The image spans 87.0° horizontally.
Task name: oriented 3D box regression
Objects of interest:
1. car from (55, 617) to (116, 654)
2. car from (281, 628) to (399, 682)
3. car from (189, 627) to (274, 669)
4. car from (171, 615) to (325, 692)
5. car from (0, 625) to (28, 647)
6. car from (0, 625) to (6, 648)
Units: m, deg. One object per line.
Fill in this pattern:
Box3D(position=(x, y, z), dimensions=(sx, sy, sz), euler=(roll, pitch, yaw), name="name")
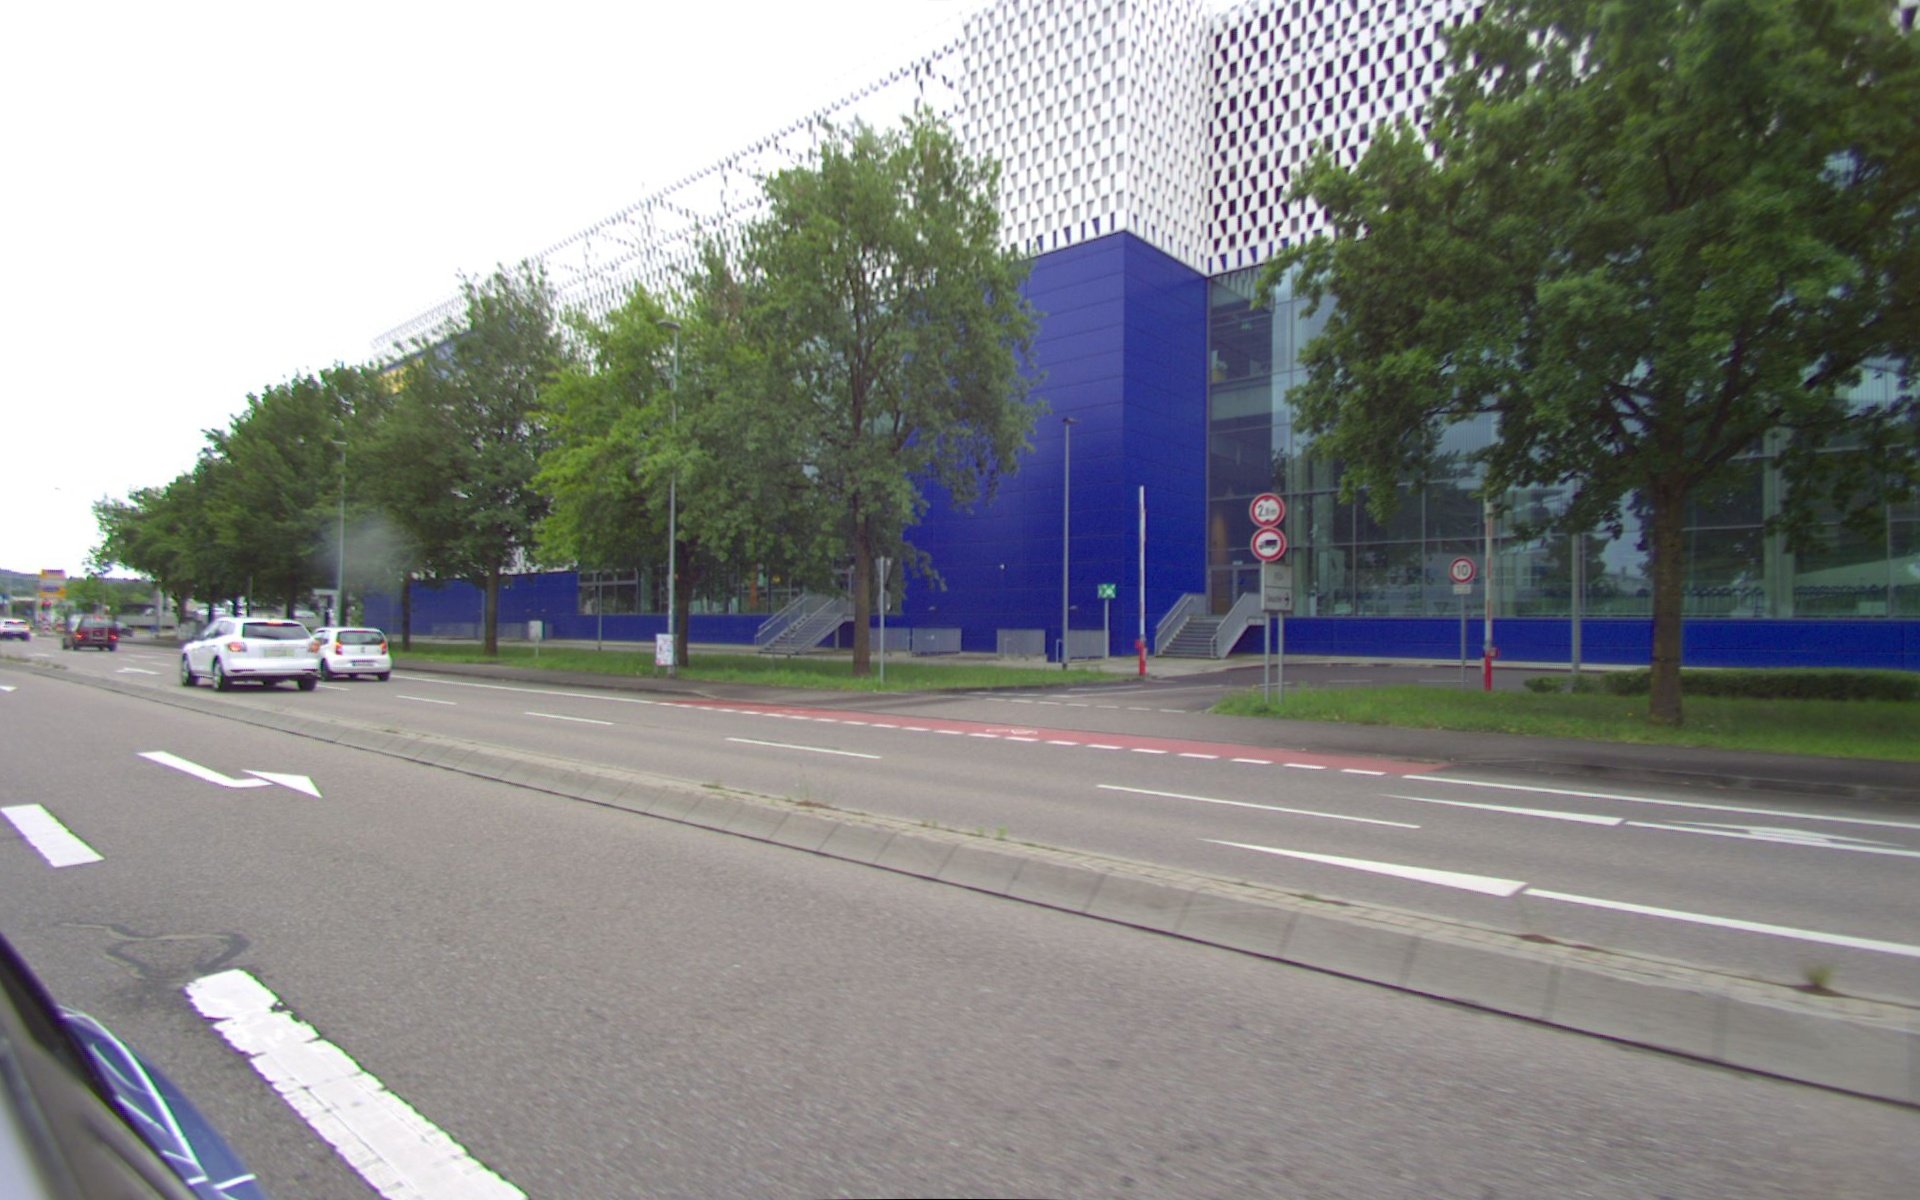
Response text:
Box3D(position=(-48.029, 1.955, 55.556), dimensions=(4.905, 1.939, 1.749), euler=(-1, -3, 41), name="car")
Box3D(position=(-17.489, 1.530, 28.511), dimensions=(3.646, 1.439, 1.660), euler=(-1, -4, 39), name="car")
Box3D(position=(-25.753, 1.679, 35.761), dimensions=(3.609, 1.434, 1.607), euler=(-1, -4, 41), name="car")
Box3D(position=(-16.440, 1.219, 23.289), dimensions=(4.511, 1.599, 1.799), euler=(-2, -4, 41), name="car")
Box3D(position=(-72.657, 2.731, 77.032), dimensions=(3.972, 1.624, 1.707), euler=(-1, -4, 35), name="car")
Box3D(position=(-77.732, 2.847, 80.652), dimensions=(3.972, 1.812, 1.632), euler=(-1, -4, 35), name="car")
